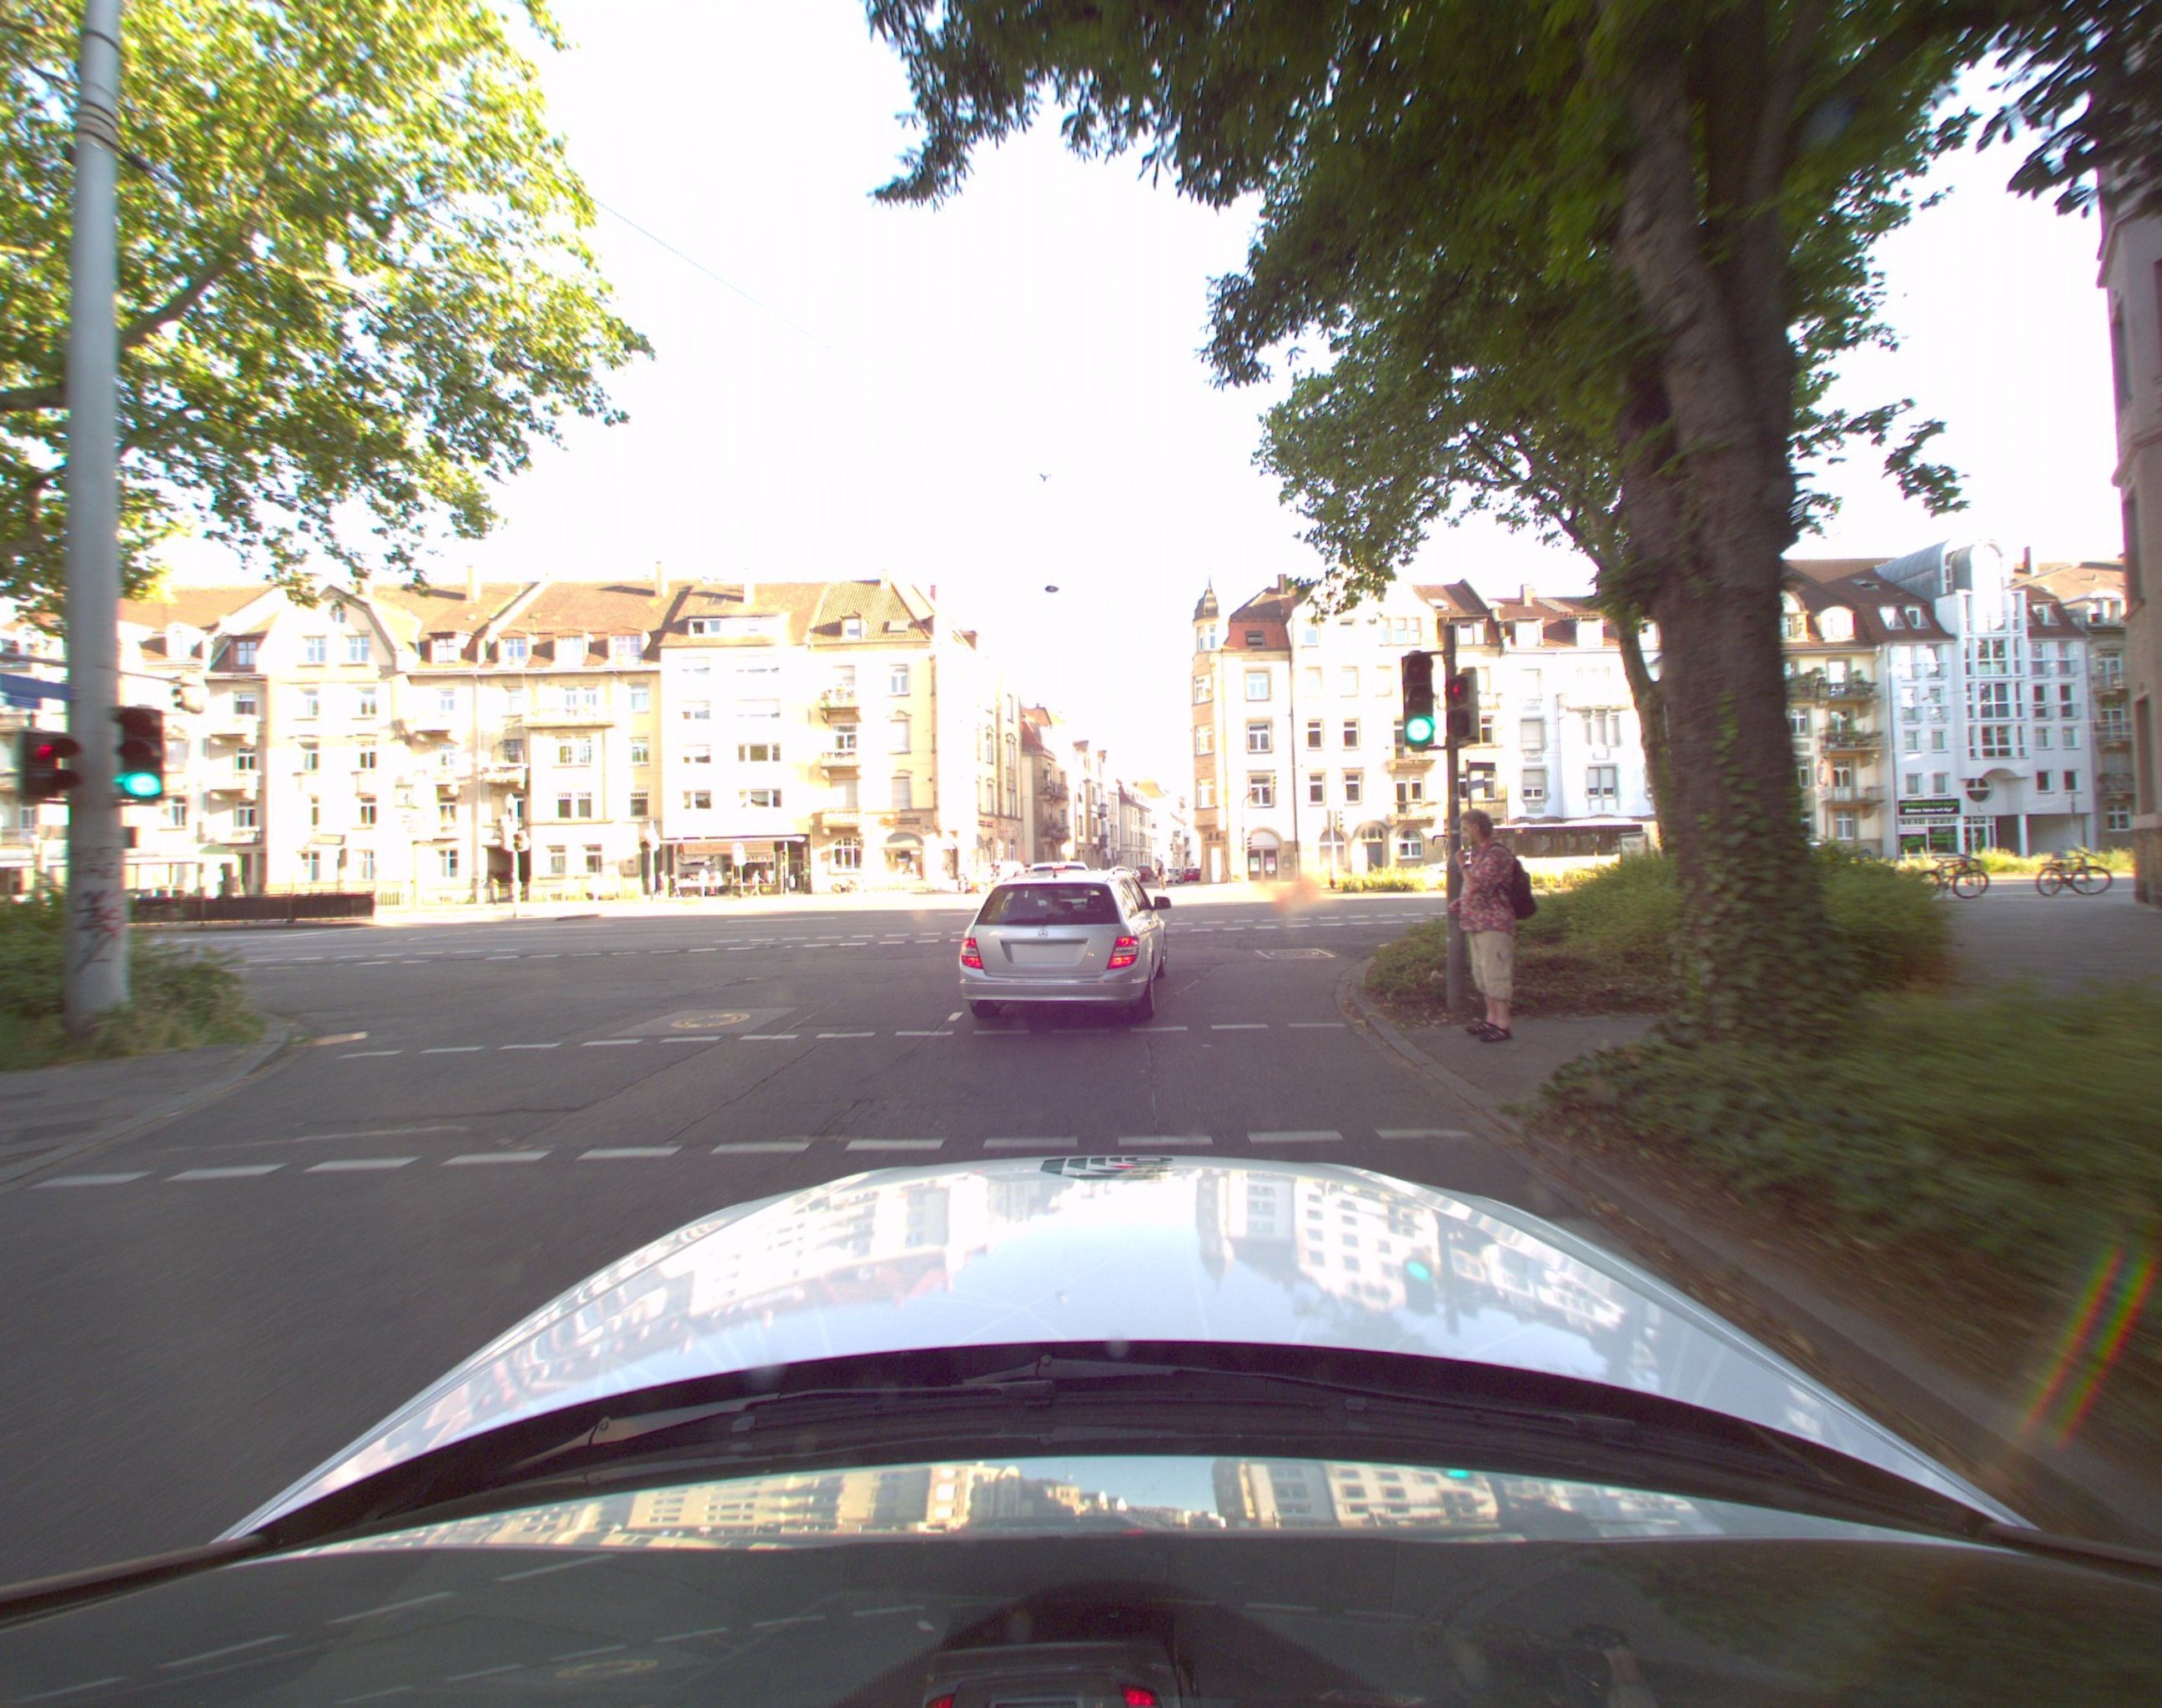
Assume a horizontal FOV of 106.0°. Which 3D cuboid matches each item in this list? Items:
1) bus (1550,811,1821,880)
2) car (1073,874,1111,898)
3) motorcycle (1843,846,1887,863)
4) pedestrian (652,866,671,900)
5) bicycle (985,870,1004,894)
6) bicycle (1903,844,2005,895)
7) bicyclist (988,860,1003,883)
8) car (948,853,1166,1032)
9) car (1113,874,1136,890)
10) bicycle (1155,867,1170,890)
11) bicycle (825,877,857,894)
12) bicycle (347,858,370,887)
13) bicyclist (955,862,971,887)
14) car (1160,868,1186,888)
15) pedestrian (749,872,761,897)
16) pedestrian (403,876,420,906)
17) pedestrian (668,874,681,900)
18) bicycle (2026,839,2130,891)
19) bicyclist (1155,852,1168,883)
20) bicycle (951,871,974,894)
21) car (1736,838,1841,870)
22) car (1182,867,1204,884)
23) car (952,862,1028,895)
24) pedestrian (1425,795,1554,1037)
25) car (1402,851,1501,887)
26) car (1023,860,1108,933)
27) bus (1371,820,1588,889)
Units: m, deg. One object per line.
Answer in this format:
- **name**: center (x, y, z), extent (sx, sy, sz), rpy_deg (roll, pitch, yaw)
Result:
- **bus**: center (31.642, -0.397, 42.999), extent (11.899, 3.374, 3.265), rpy_deg (-1, -1, 0)
- **car**: center (0.873, 2.384, 60.768), extent (1.816, 1.706, 4.016), rpy_deg (-1, -1, 15)
- **motorcycle**: center (50.478, 0.021, 52.468), extent (2.405, 1.021, 0.529), rpy_deg (-1, 1, -2)
- **pedestrian**: center (-25.817, 1.783, 50.105), extent (0.663, 2.014, 0.771), rpy_deg (-2, -1, 8)
- **bicycle**: center (-4.320, 1.392, 40.875), extent (0.648, 1.105, 1.926), rpy_deg (-1, 1, 3)
- **bicycle**: center (19.279, 0.347, 17.987), extent (1.863, 1.068, 0.370), rpy_deg (-2, -1, -2)
- **bicyclist**: center (-4.311, 0.886, 41.004), extent (0.607, 1.158, 0.768), rpy_deg (-1, -1, 3)
- **car**: center (-0.002, 0.772, 8.877), extent (1.723, 1.477, 4.180), rpy_deg (-1, -1, 7)
- **car**: center (4.682, 2.953, 87.503), extent (1.817, 1.615, 4.013), rpy_deg (-1, -1, 13)
- **bicycle**: center (3.951, 1.175, 39.788), extent (0.617, 1.105, 2.554), rpy_deg (-1, -1, 3)
- **bicycle**: center (-15.225, 1.979, 51.688), extent (1.802, 1.028, 0.492), rpy_deg (-2, -1, -2)
- **bicycle**: center (-43.534, 1.094, 49.048), extent (0.882, 1.737, 0.561), rpy_deg (-1, -1, 3)
- **bicyclist**: center (-5.885, 1.023, 40.586), extent (0.656, 1.236, 0.768), rpy_deg (-1, -1, 3)
- **car**: center (8.004, 2.072, 70.784), extent (1.818, 1.615, 4.013), rpy_deg (-1, -1, 12)
- **pedestrian**: center (-20.494, 1.895, 51.177), extent (0.561, 1.564, 0.466), rpy_deg (-1, -1, -5)
- **pedestrian**: center (-41.455, 2.272, 50.431), extent (0.473, 1.837, 0.641), rpy_deg (-1, -1, 2)
- **pedestrian**: center (-25.089, 2.030, 50.251), extent (0.561, 1.564, 0.466), rpy_deg (-1, -1, -5)
- **bicycle**: center (22.328, 0.249, 18.243), extent (1.922, 1.098, 0.437), rpy_deg (-2, -1, -5)
- **bicyclist**: center (3.939, 0.665, 39.819), extent (0.607, 1.494, 0.768), rpy_deg (-1, -1, 3)
- **bicycle**: center (-5.886, 1.410, 40.590), extent (0.648, 1.105, 2.554), rpy_deg (-1, -1, 3)
- **car**: center (42.145, 0.023, 48.590), extent (4.621, 1.787, 1.910), rpy_deg (-1, -1, 1)
- **car**: center (11.903, 2.302, 86.546), extent (1.817, 1.706, 4.015), rpy_deg (-1, -1, 14)
- **car**: center (-5.495, 1.424, 49.365), extent (4.334, 1.899, 1.897), rpy_deg (0, -2, -45)
- **pedestrian**: center (3.201, 0.468, 6.440), extent (0.696, 1.806, 0.667), rpy_deg (-1, -1, 7)
- **car**: center (18.047, 0.723, 39.831), extent (3.971, 1.684, 1.937), rpy_deg (-1, -1, 2)
- **car**: center (-0.267, 0.896, 18.623), extent (1.725, 1.480, 3.815), rpy_deg (-1, -1, 2)
- **bus**: center (20.765, 0.066, 42.900), extent (9.835, 3.374, 3.275), rpy_deg (-1, -1, 0)
